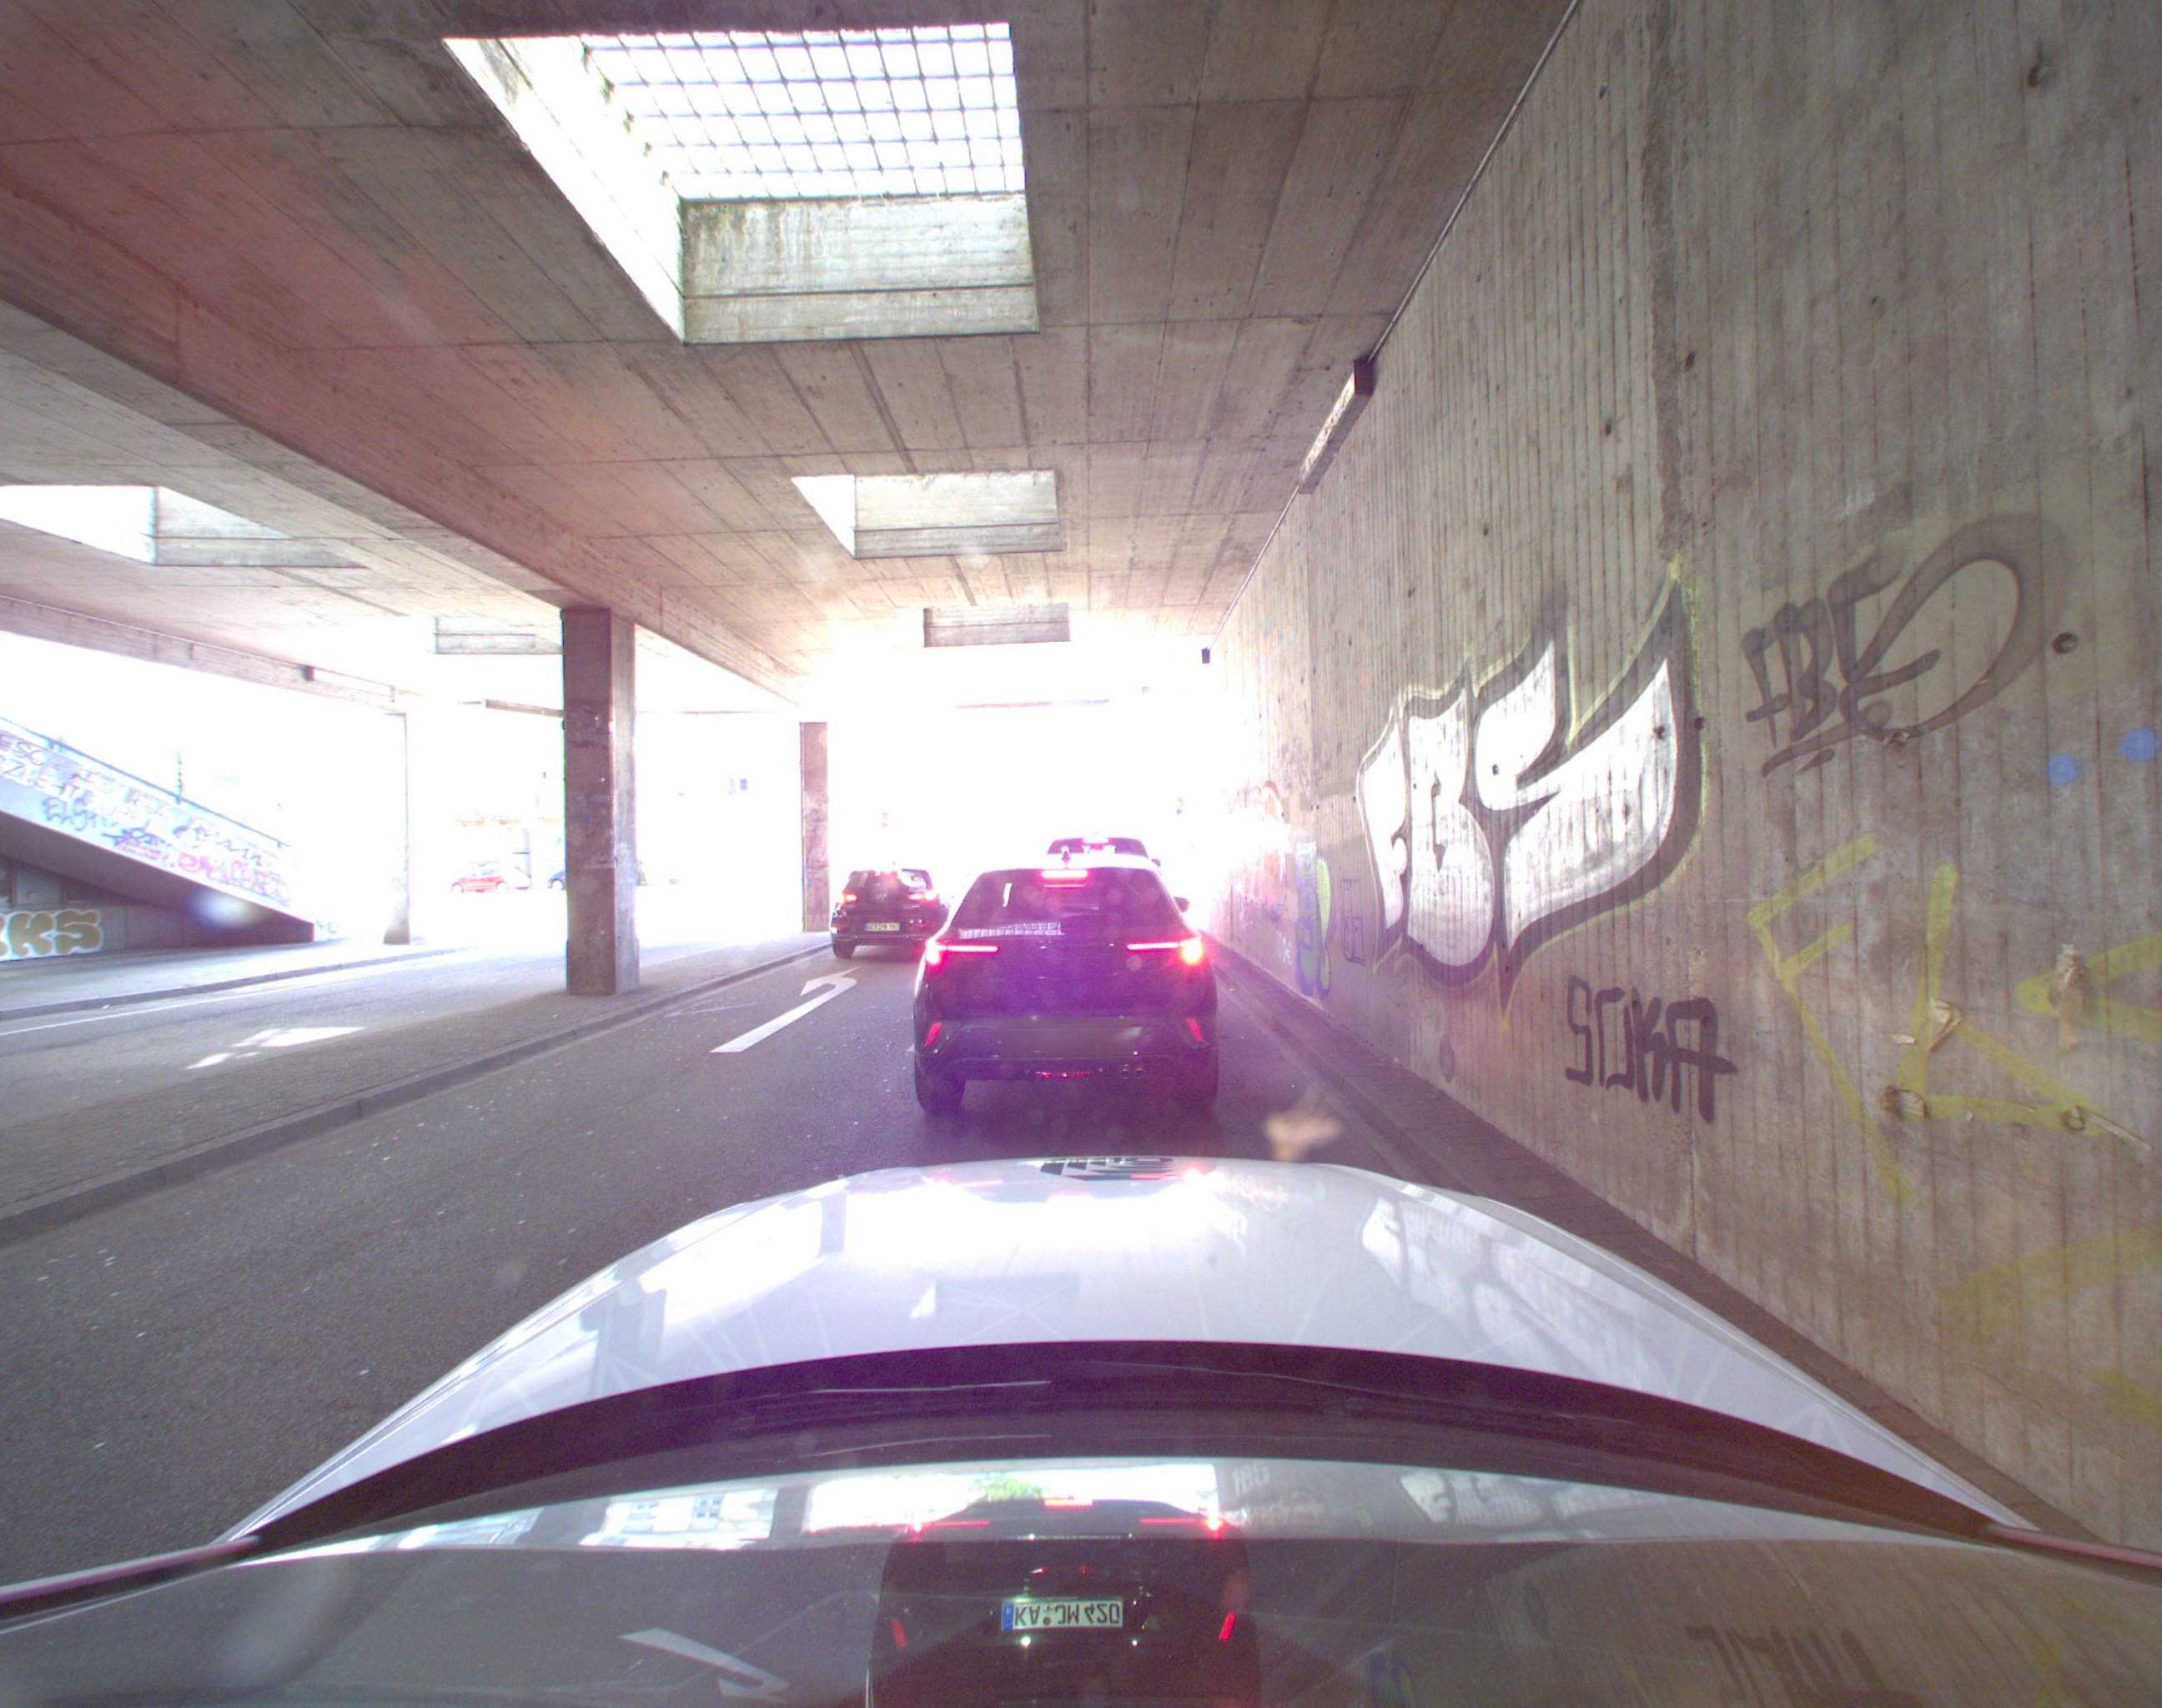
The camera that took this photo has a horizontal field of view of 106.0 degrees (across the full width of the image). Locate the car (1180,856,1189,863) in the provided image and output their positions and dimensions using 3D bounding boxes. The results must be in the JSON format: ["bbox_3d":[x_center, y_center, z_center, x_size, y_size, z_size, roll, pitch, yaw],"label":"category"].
[{"bbox_3d":[23.705,1.260,186.888,1.742,1.667,3.958,-1,-1,13],"label":"car"}]

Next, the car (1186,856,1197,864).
[{"bbox_3d":[23.483,1.329,172.690,1.805,1.667,4.833,-1,-1,13],"label":"car"}]

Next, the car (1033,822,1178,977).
[{"bbox_3d":[0.363,0.566,12.136,1.755,1.883,4.148,-1,0,2],"label":"car"}]

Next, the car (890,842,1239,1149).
[{"bbox_3d":[-0.022,0.726,6.197,1.755,1.531,4.091,-1,0,2],"label":"car"}]

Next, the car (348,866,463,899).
[{"bbox_3d":[-32.703,1.382,39.488,4.096,1.475,1.737,-1,-1,0],"label":"car"}]

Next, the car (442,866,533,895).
[{"bbox_3d":[-32.924,1.452,45.239,3.748,1.475,1.749,-1,-1,0],"label":"car"}]

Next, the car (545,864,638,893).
[{"bbox_3d":[-27.168,1.328,45.261,4.096,1.475,1.737,-1,-1,0],"label":"car"}]

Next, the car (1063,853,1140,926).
[{"bbox_3d":[0.499,0.761,19.354,1.603,1.513,4.055,-1,0,2],"label":"car"}]

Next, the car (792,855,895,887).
[{"bbox_3d":[-11.192,0.810,38.541,4.258,1.398,1.885,-1,-1,5],"label":"car"}]

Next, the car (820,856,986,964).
[{"bbox_3d":[-2.743,0.800,13.455,1.755,1.480,3.846,-1,0,2],"label":"car"}]

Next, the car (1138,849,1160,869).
[{"bbox_3d":[5.759,0.424,68.328,1.745,1.667,3.950,0,-1,6],"label":"car"}]

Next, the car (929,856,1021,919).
[{"bbox_3d":[-2.654,0.796,21.183,1.755,1.480,3.846,-1,0,2],"label":"car"}]

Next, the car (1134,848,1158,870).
[{"bbox_3d":[4.972,0.380,62.223,1.745,1.667,3.950,0,-1,6],"label":"car"}]
